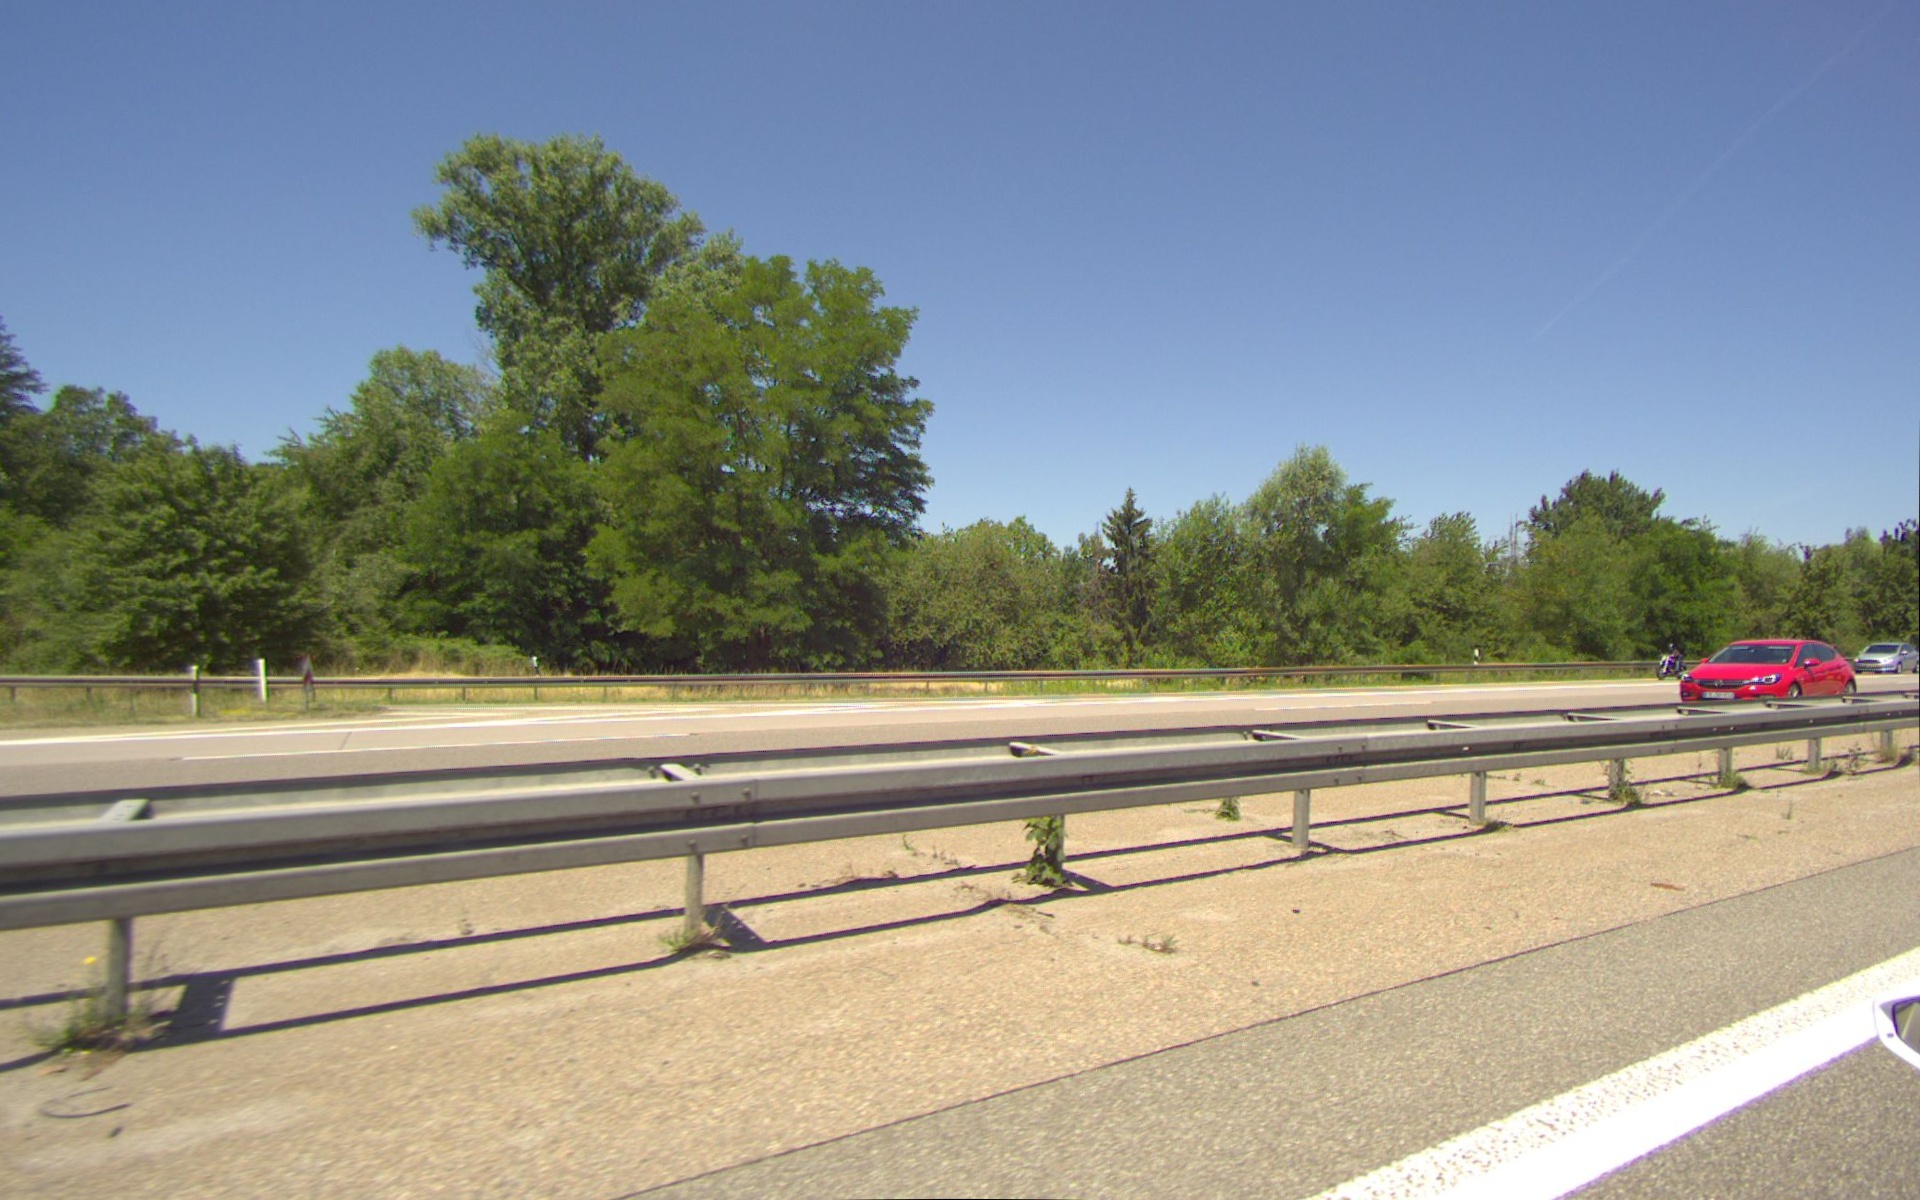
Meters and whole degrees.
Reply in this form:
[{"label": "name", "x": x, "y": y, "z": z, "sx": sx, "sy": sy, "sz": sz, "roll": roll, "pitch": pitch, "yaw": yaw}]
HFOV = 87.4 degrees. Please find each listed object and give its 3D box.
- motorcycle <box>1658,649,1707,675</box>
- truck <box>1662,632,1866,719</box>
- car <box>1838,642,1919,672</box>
[{"label": "motorcycle", "x": 31.738, "y": 2.711, "z": 44.137, "sx": 2.363, "sy": 1.127, "sz": 0.776, "roll": 1, "pitch": -1, "yaw": -27}, {"label": "truck", "x": 16.374, "y": 1.477, "z": 20.425, "sx": 4.258, "sy": 1.584, "sz": 1.822, "roll": 2, "pitch": -2, "yaw": -30}, {"label": "car", "x": 48.125, "y": 2.964, "z": 52.493, "sx": 4.665, "sy": 1.529, "sz": 1.985, "roll": 2, "pitch": -3, "yaw": -30}]
